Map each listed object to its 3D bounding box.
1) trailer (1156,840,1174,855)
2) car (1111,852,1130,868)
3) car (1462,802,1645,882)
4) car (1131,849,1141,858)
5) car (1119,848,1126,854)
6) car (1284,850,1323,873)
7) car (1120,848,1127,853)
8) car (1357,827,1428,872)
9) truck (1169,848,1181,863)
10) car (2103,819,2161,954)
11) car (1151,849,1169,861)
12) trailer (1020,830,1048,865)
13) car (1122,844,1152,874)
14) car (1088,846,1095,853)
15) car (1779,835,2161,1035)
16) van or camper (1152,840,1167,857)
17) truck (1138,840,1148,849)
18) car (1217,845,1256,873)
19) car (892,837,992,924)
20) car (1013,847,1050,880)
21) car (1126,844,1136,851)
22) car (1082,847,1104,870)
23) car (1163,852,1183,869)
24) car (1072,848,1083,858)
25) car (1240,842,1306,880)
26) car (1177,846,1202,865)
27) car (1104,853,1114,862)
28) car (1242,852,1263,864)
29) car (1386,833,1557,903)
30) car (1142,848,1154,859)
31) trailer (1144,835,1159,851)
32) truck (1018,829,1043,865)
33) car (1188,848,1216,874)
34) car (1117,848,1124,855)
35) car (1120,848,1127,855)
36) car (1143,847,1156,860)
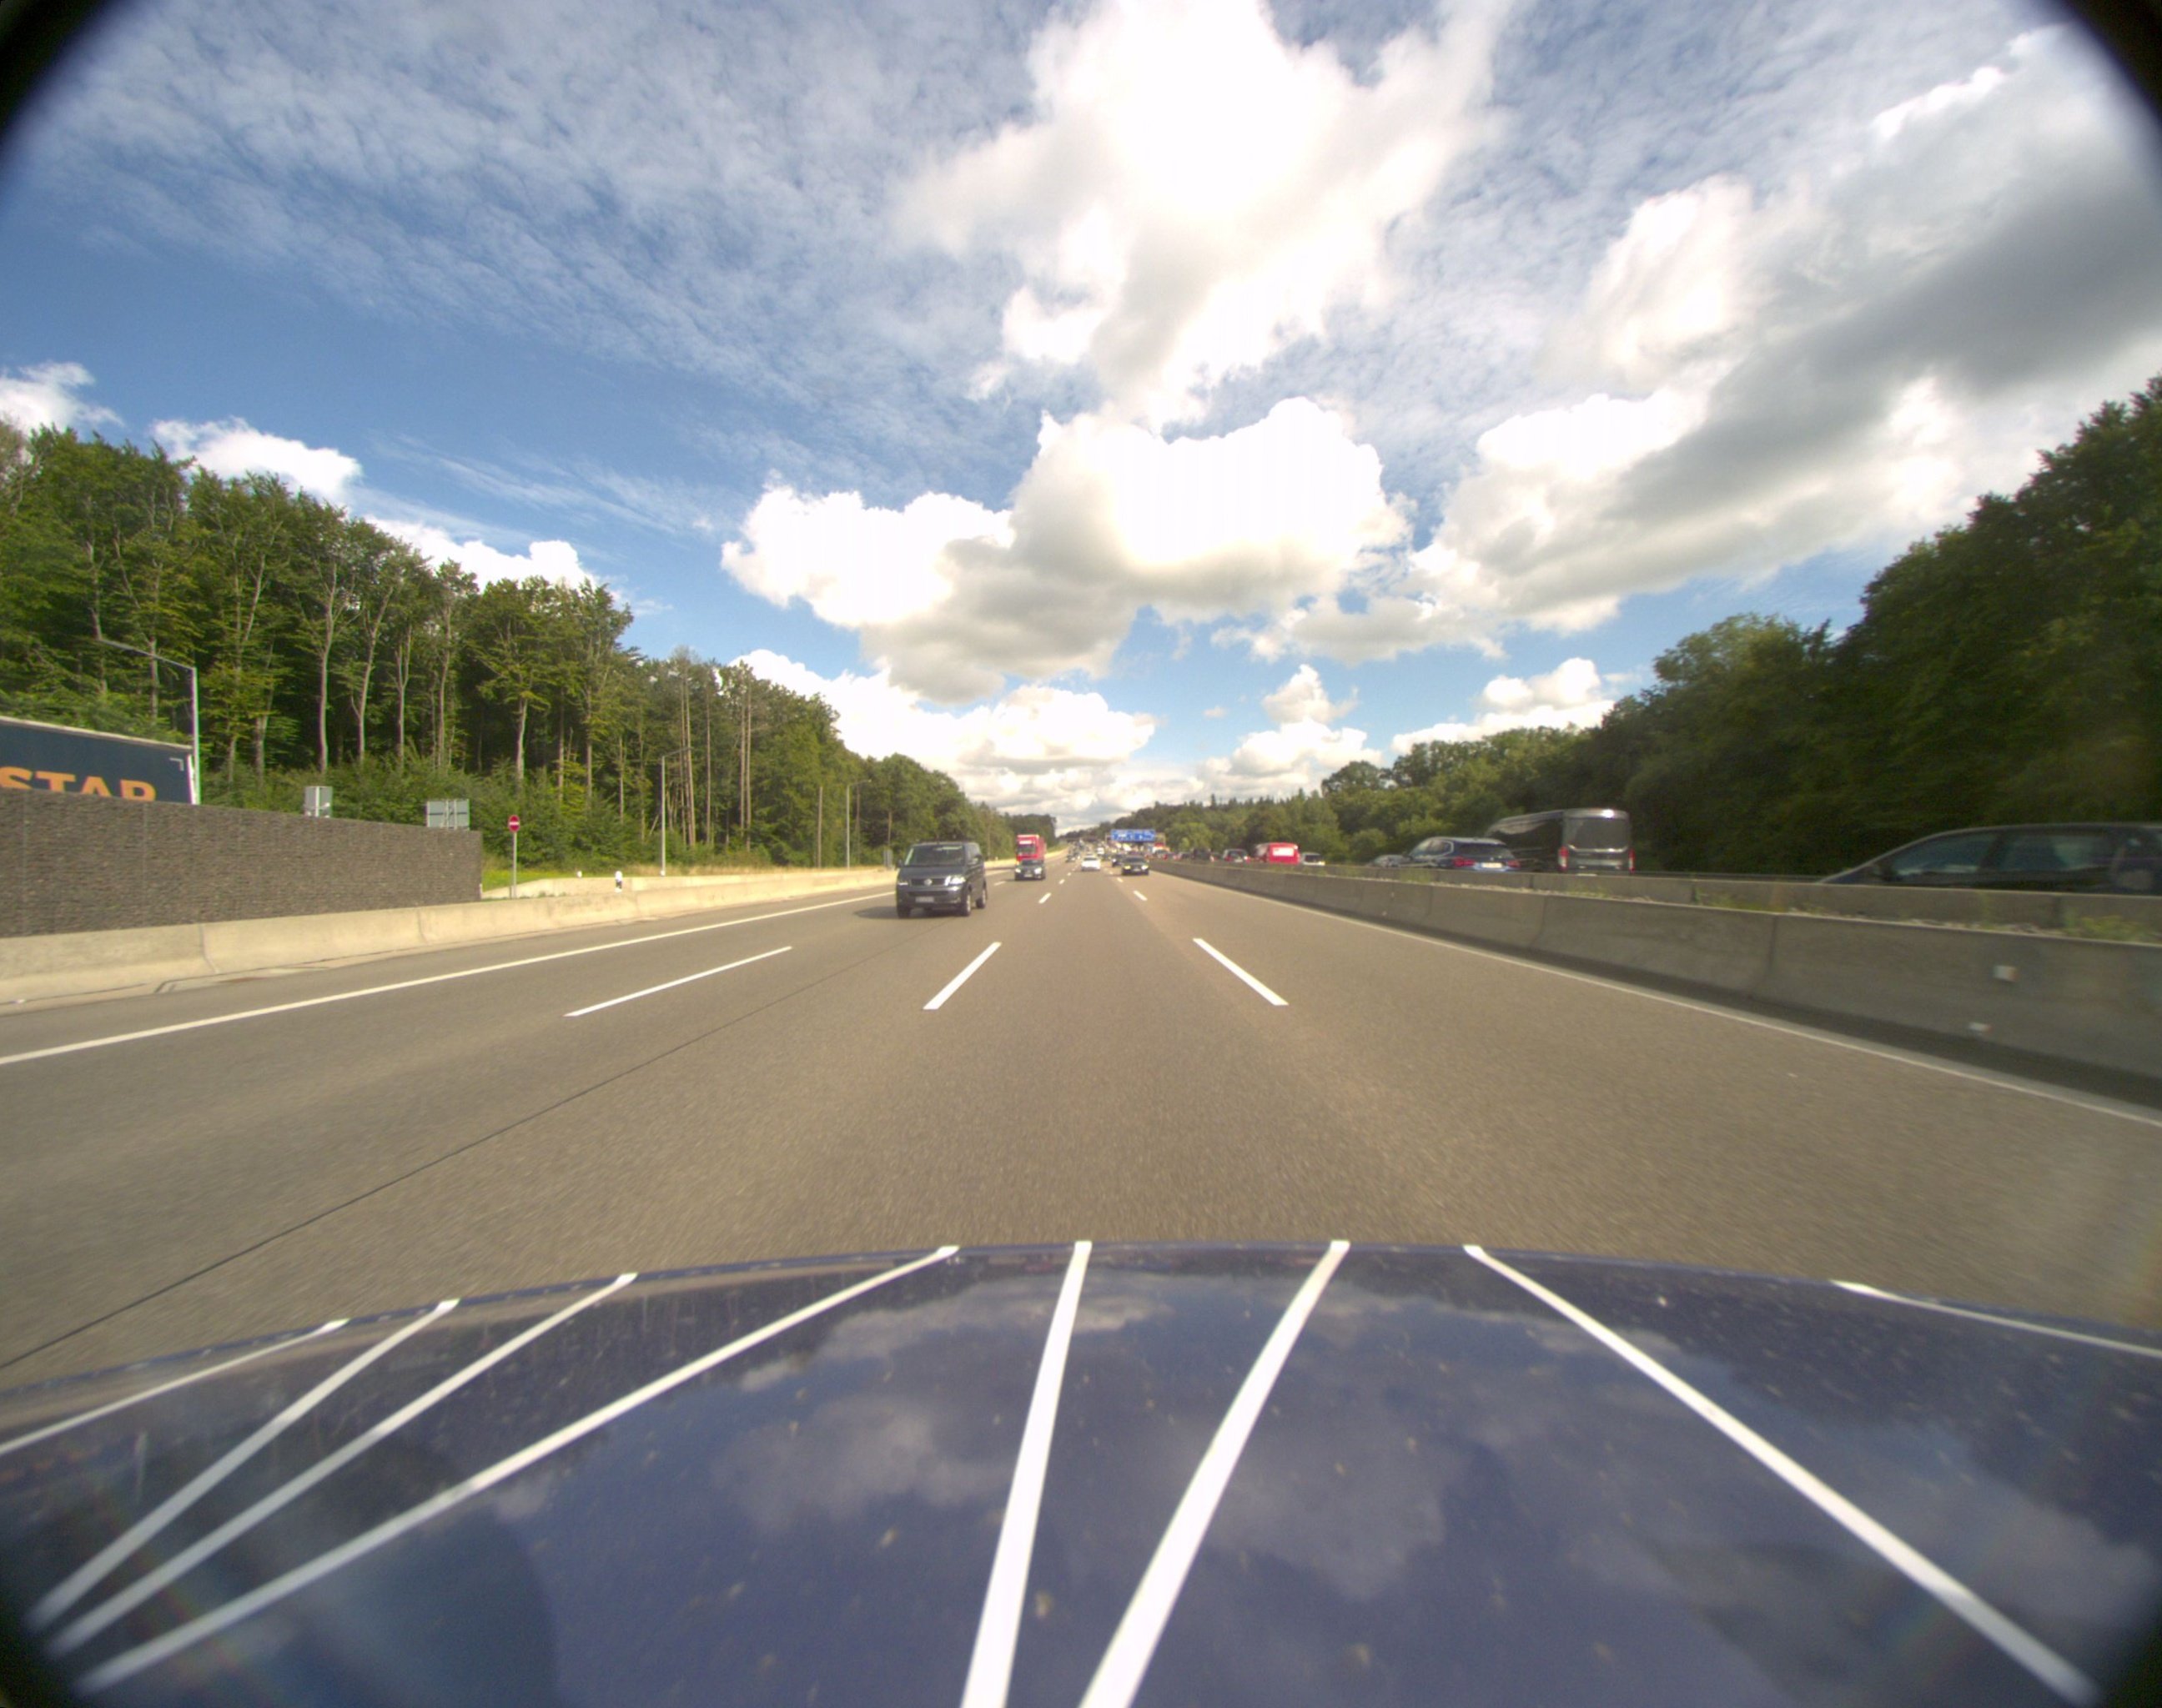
[{"bbox_3d":[20.280,-1.589,184.515,2.735,3.316,14.217,-2,0,0],"label":"trailer"},{"bbox_3d":[4.664,0.682,90.256,1.911,1.582,4.286,-2,2,1],"label":"car"},{"bbox_3d":[13.979,-0.332,23.038,1.998,2.020,5.846,-2,0,2],"label":"car"},{"bbox_3d":[11.471,-0.149,159.398,1.691,1.806,4.294,-2,2,0],"label":"car"},{"bbox_3d":[12.802,-0.937,233.707,1.998,1.733,4.294,-3,1,0],"label":"car"},{"bbox_3d":[18.216,0.563,62.319,1.998,1.752,4.459,-2,0,2],"label":"car"},{"bbox_3d":[12.202,-0.998,217.618,1.761,1.369,4.000,-2,0,0],"label":"car"},{"bbox_3d":[17.920,-0.238,43.975,1.998,2.360,5.329,-2,0,2],"label":"car"},{"bbox_3d":[27.466,0.350,221.935,2.819,4.127,5.450,-2,2,-1],"label":"truck"},{"bbox_3d":[13.494,0.357,7.130,1.998,1.563,4.357,-2,0,2],"label":"car"},{"bbox_3d":[10.414,0.146,100.374,1.998,1.563,4.815,-1,0,2],"label":"car"},{"bbox_3d":[-6.043,-0.991,99.454,2.531,4.096,14.372,-2,2,0],"label":"trailer"},{"bbox_3d":[4.003,0.343,55.049,1.919,2.002,4.000,-2,1,2],"label":"car"},{"bbox_3d":[2.755,-1.168,198.293,1.804,1.865,3.950,-1,1,1],"label":"car"},{"bbox_3d":[9.773,0.633,7.807,1.998,1.563,3.511,-2,0,2],"label":"car"},{"bbox_3d":[15.807,-1.160,153.590,2.144,3.154,6.243,-3,1,0],"label":"van or camper"},{"bbox_3d":[20.125,-2.995,247.512,2.334,2.785,7.947,-3,1,0],"label":"truck"},{"bbox_3d":[10.767,0.304,52.820,1.862,1.753,4.458,-2,2,2],"label":"car"},{"bbox_3d":[-3.785,0.631,21.610,1.927,2.153,4.960,-1,1,0],"label":"car"},{"bbox_3d":[-3.244,0.580,50.389,1.998,2.002,4.000,-2,1,2],"label":"car"},{"bbox_3d":[11.248,-1.433,171.025,1.819,1.341,6.231,-3,1,0],"label":"car"},{"bbox_3d":[1.132,0.399,71.458,1.998,2.002,4.000,-1,0,2],"label":"car"},{"bbox_3d":[10.831,0.729,89.711,1.998,1.894,4.458,-2,1,2],"label":"car"},{"bbox_3d":[-0.740,-0.208,145.743,1.911,1.582,4.285,-2,2,-2],"label":"car"},{"bbox_3d":[9.617,0.308,38.547,1.881,1.752,5.293,-2,0,-1],"label":"car"},{"bbox_3d":[10.998,0.147,77.382,1.998,1.749,4.457,-2,2,2],"label":"car"},{"bbox_3d":[5.569,0.705,151.419,1.804,1.783,3.757,-1,1,1],"label":"car"},{"bbox_3d":[22.774,0.538,101.065,1.716,1.393,5.071,-2,2,2],"label":"car"},{"bbox_3d":[10.200,0.312,20.425,1.998,1.563,5.207,-2,0,2],"label":"car"},{"bbox_3d":[11.880,-0.124,135.344,1.887,2.002,4.519,-1,0,2],"label":"car"},{"bbox_3d":[20.379,-3.343,220.319,2.778,4.211,13.654,-2,2,0],"label":"trailer"},{"bbox_3d":[-6.094,-0.894,92.328,2.532,4.179,4.652,-2,2,1],"label":"truck"},{"bbox_3d":[10.464,0.565,65.845,1.821,2.002,4.451,-2,2,2],"label":"car"},{"bbox_3d":[12.082,-0.901,233.462,1.998,2.002,4.408,-1,2,1],"label":"car"},{"bbox_3d":[12.186,-0.709,216.941,1.691,1.806,4.294,-2,2,0],"label":"car"},{"bbox_3d":[11.316,-0.075,125.664,1.910,2.002,5.091,-1,0,2],"label":"car"}]
